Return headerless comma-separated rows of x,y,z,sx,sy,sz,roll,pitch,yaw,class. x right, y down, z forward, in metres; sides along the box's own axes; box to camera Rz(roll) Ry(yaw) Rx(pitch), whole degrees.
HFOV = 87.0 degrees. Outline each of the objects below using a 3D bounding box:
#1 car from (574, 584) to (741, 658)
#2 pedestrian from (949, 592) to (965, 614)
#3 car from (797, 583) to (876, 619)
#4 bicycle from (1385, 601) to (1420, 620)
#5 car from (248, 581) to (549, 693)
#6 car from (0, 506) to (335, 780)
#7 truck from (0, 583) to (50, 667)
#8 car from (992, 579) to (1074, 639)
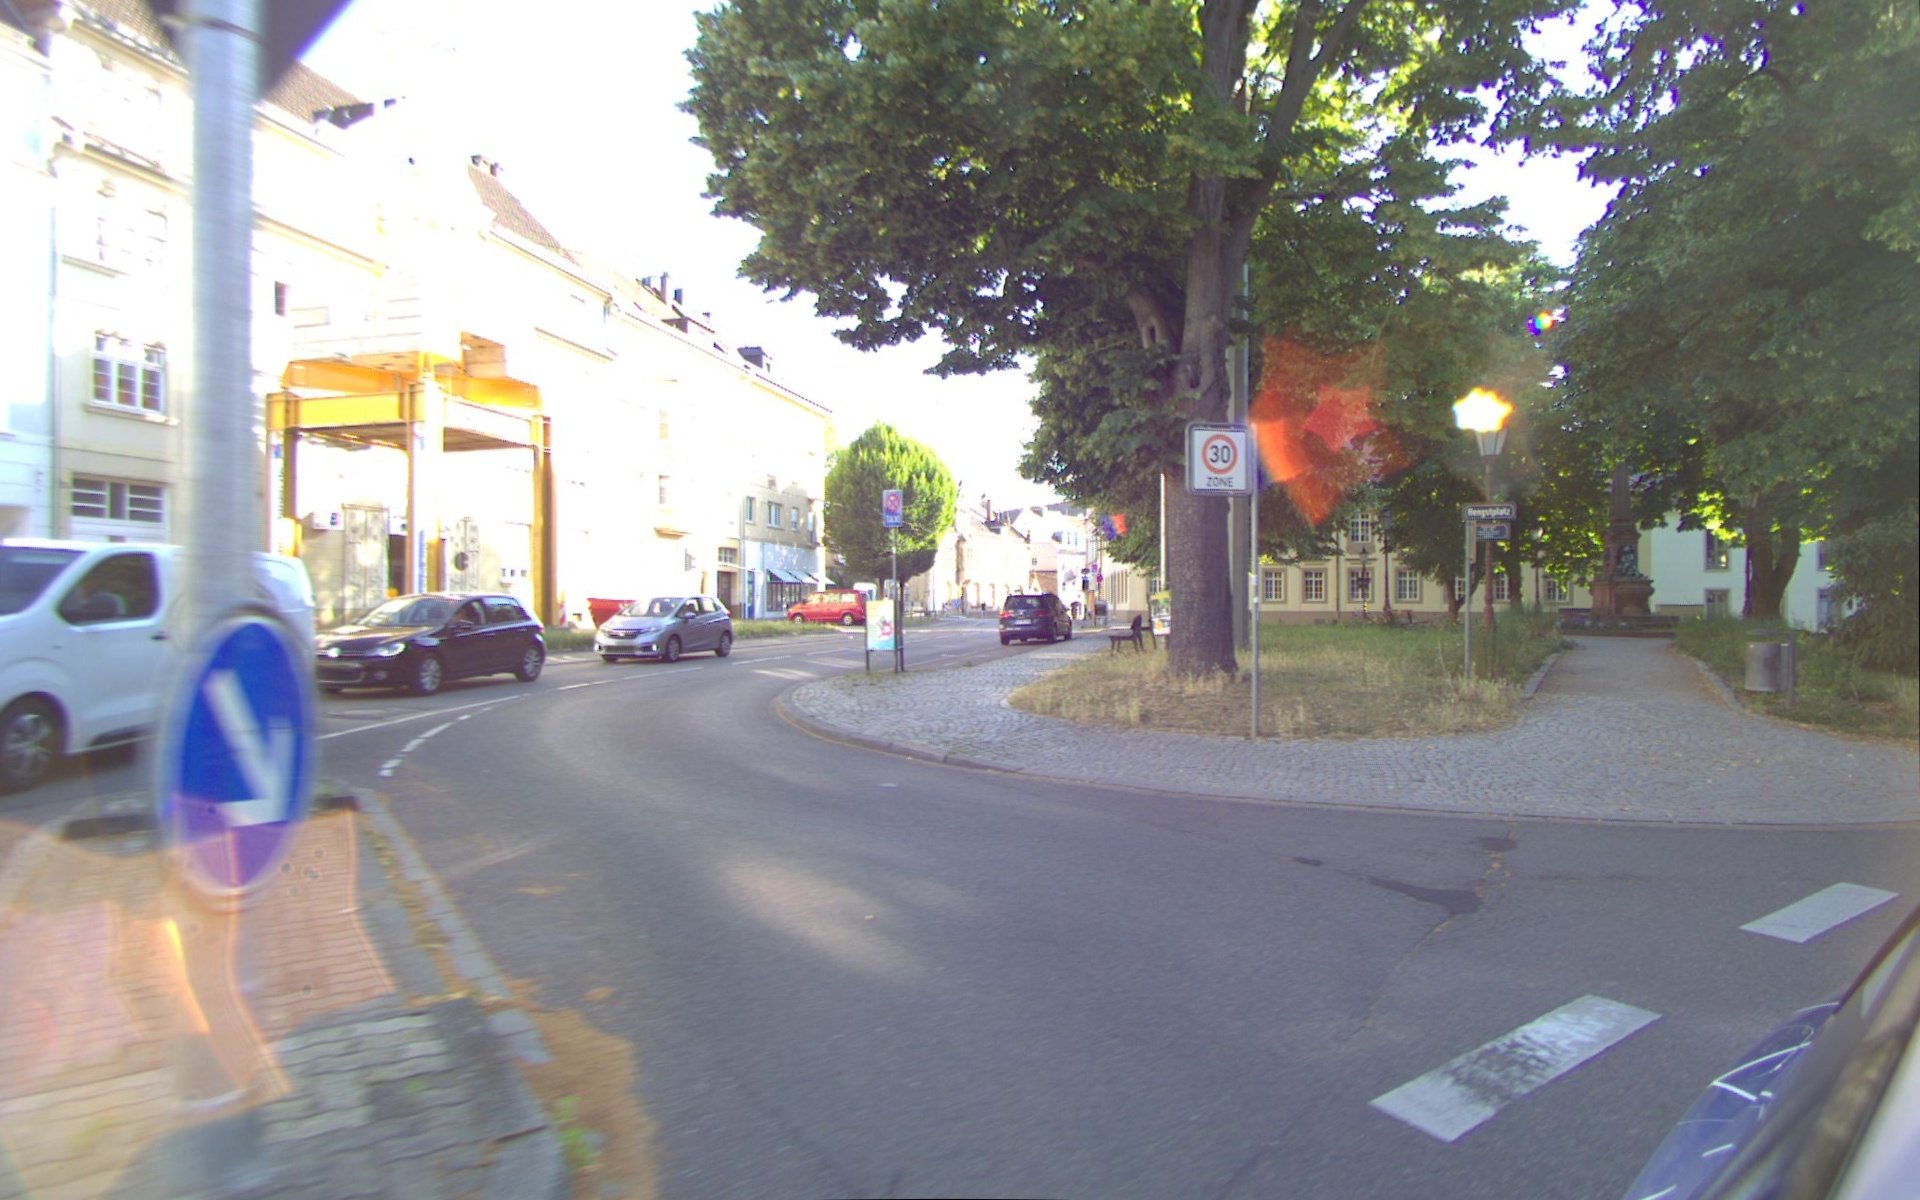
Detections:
-6.817,0.452,23.272,1.969,1.538,4.056,0,0,12,car
-0.264,0.284,93.791,1.332,2.039,1.156,0,0,6,pedestrian
-6.886,0.053,56.707,4.009,1.946,1.992,0,-1,12,car
24.654,0.572,56.437,1.741,1.045,0.718,1,0,19,bicycle
-8.286,0.500,15.439,1.967,1.463,4.061,0,0,8,car
-7.700,0.298,8.664,1.960,1.878,4.906,0,0,-5,car
-19.492,0.460,18.341,1.970,1.606,4.079,0,0,14,truck
2.441,0.266,32.892,1.970,1.816,3.983,-1,0,14,car
